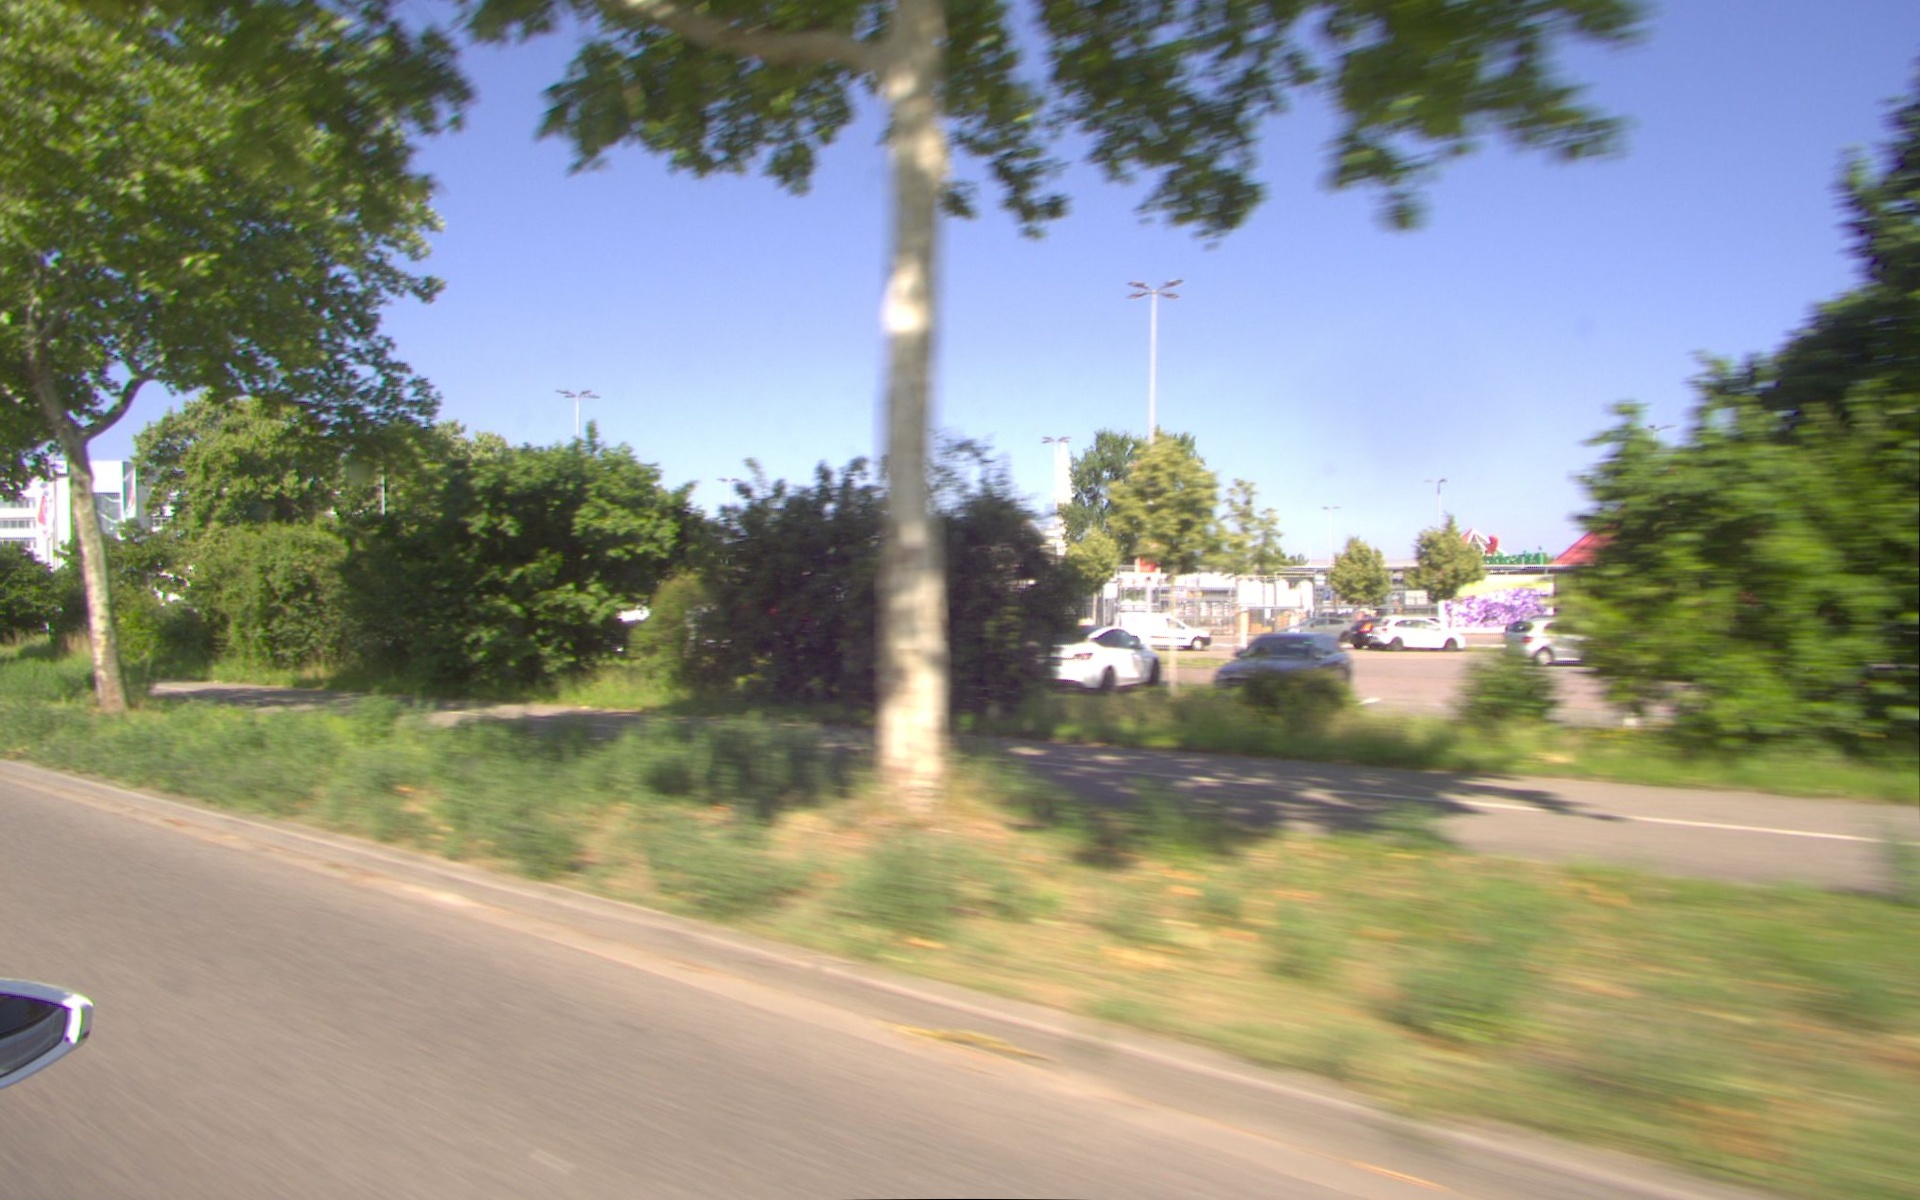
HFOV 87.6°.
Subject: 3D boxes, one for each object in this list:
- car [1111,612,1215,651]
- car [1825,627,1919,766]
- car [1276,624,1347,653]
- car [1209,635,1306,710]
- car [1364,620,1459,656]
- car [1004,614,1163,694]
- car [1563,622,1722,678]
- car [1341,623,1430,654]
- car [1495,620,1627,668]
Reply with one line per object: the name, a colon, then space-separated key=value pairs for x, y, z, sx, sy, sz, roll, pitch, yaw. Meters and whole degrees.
car: x=8.956 y=1.396 z=44.373 sx=4.259 sy=1.683 sz=1.803 roll=0 pitch=-2 yaw=0
car: x=14.425 y=1.352 z=15.044 sx=1.784 sy=1.839 sz=4.951 roll=-1 pitch=-2 yaw=37
car: x=19.898 y=2.180 z=56.746 sx=3.449 sy=1.571 sz=1.685 roll=0 pitch=-2 yaw=0
car: x=5.927 y=1.398 z=20.252 sx=1.653 sy=1.367 sz=3.516 roll=0 pitch=-2 yaw=13
car: x=20.097 y=1.704 z=44.659 sx=3.449 sy=1.571 sz=1.685 roll=0 pitch=-2 yaw=0
car: x=2.985 y=1.218 z=23.341 sx=2.067 sy=1.656 sz=4.480 roll=-1 pitch=-2 yaw=31
car: x=19.760 y=1.433 z=29.081 sx=3.449 sy=1.571 sz=1.685 roll=0 pitch=-2 yaw=-1
car: x=19.977 y=1.808 z=47.076 sx=3.449 sy=1.429 sz=1.685 roll=0 pitch=-2 yaw=0
car: x=20.306 y=1.492 z=33.915 sx=3.449 sy=1.571 sz=1.685 roll=0 pitch=-2 yaw=-1
